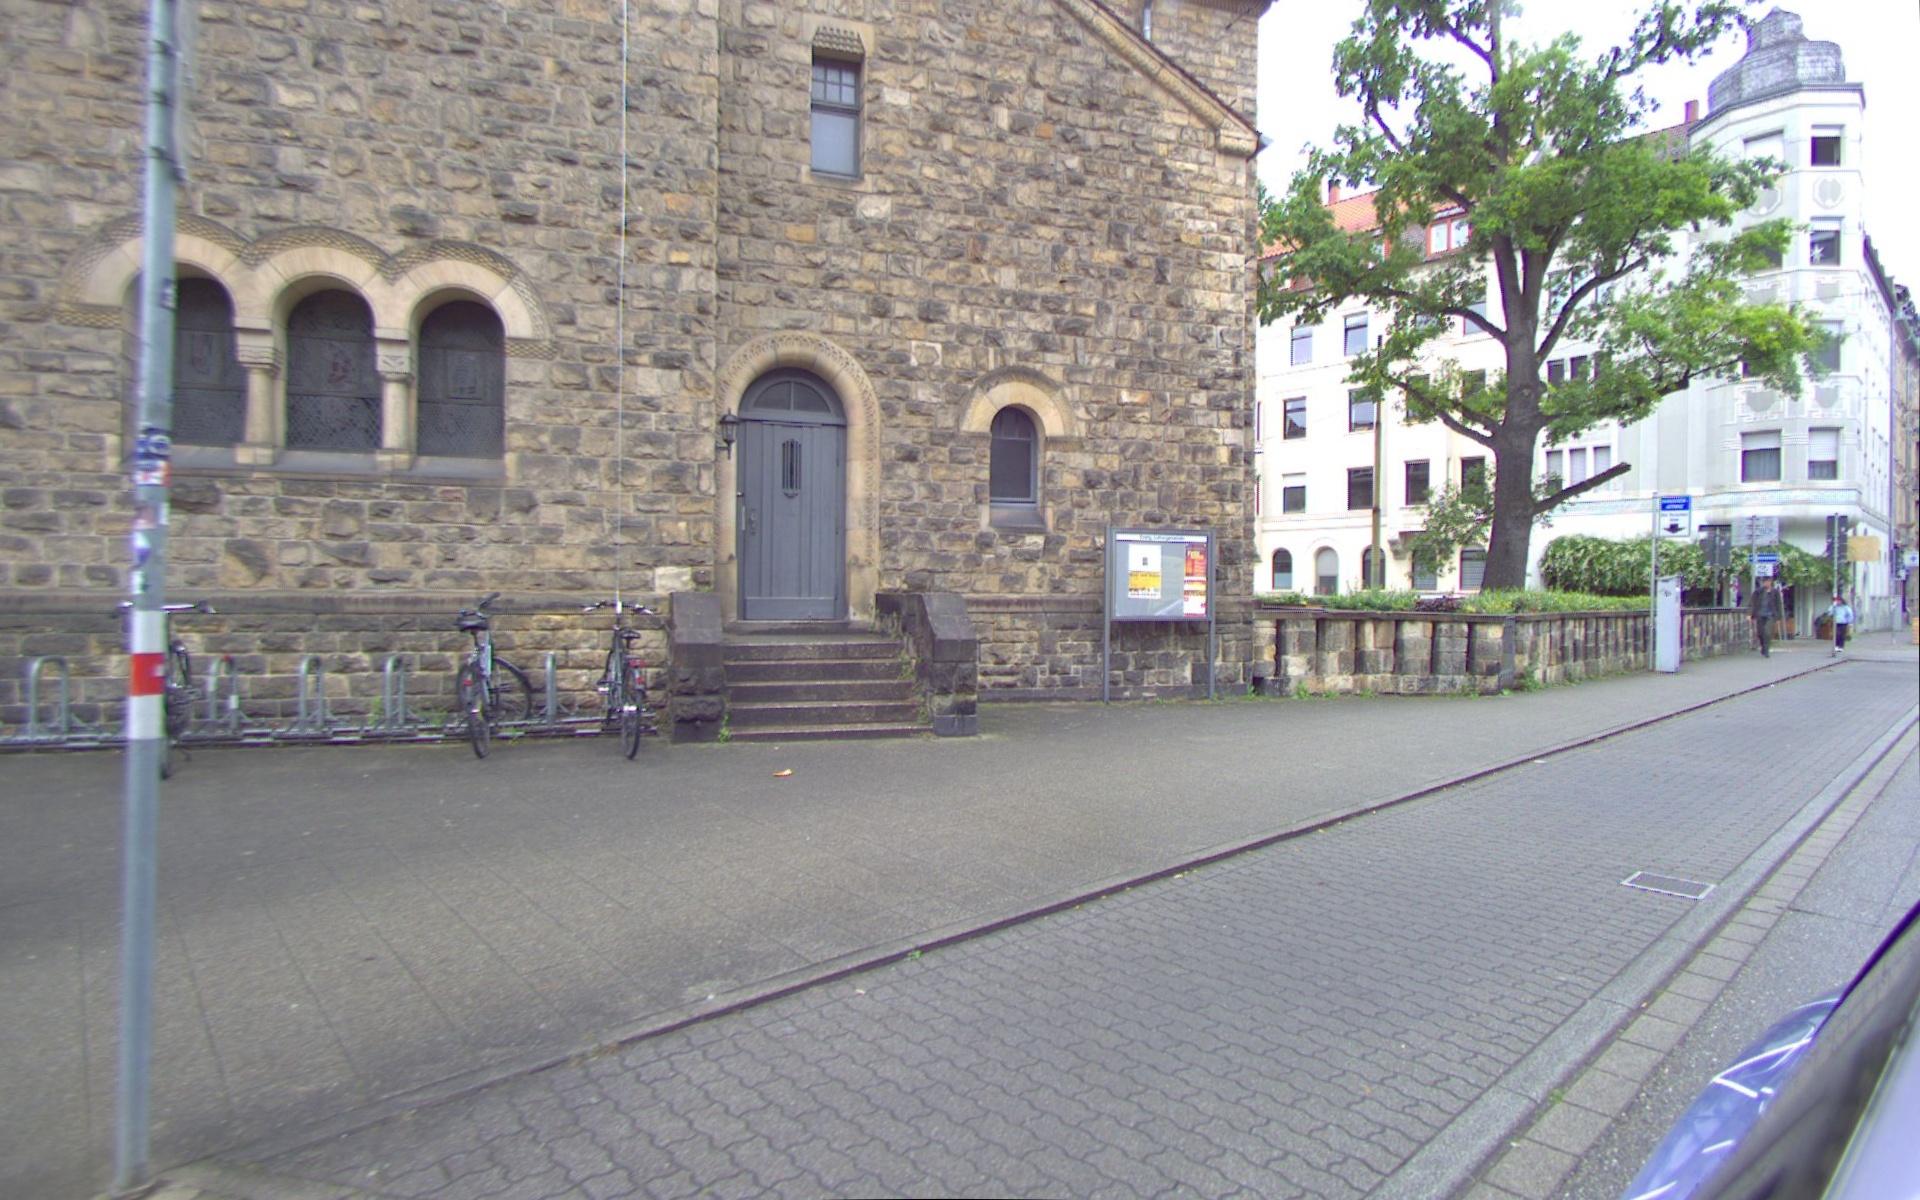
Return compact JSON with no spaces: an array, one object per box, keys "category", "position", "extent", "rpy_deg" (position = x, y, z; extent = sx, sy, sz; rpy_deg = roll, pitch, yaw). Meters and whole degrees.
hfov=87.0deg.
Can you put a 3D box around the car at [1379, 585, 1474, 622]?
[{"category":"car","position":[19.300,0.115,41.979],"extent":[1.421,1.427,3.271],"rpy_deg":[0,1,-39]}]

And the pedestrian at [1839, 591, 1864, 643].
[{"category":"pedestrian","position":[25.908,0.484,29.408],"extent":[0.385,1.479,0.481],"rpy_deg":[1,1,-42]}]

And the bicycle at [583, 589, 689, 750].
[{"category":"bicycle","position":[-2.661,0.486,8.184],"extent":[0.502,1.067,1.994],"rpy_deg":[0,3,-27]}]

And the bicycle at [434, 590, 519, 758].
[{"category":"bicycle","position":[-3.866,0.519,8.054],"extent":[0.550,1.125,1.717],"rpy_deg":[0,3,-27]}]

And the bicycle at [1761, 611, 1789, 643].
[{"category":"bicycle","position":[26.726,0.871,33.179],"extent":[1.990,0.904,0.390],"rpy_deg":[-3,3,-42]}]

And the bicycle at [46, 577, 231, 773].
[{"category":"bicycle","position":[-5.665,0.428,7.098],"extent":[0.677,1.118,1.994],"rpy_deg":[0,3,-30]}]

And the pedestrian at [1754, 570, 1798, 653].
[{"category":"pedestrian","position":[18.884,0.253,23.420],"extent":[0.681,1.896,0.645],"rpy_deg":[0,1,-42]}]
